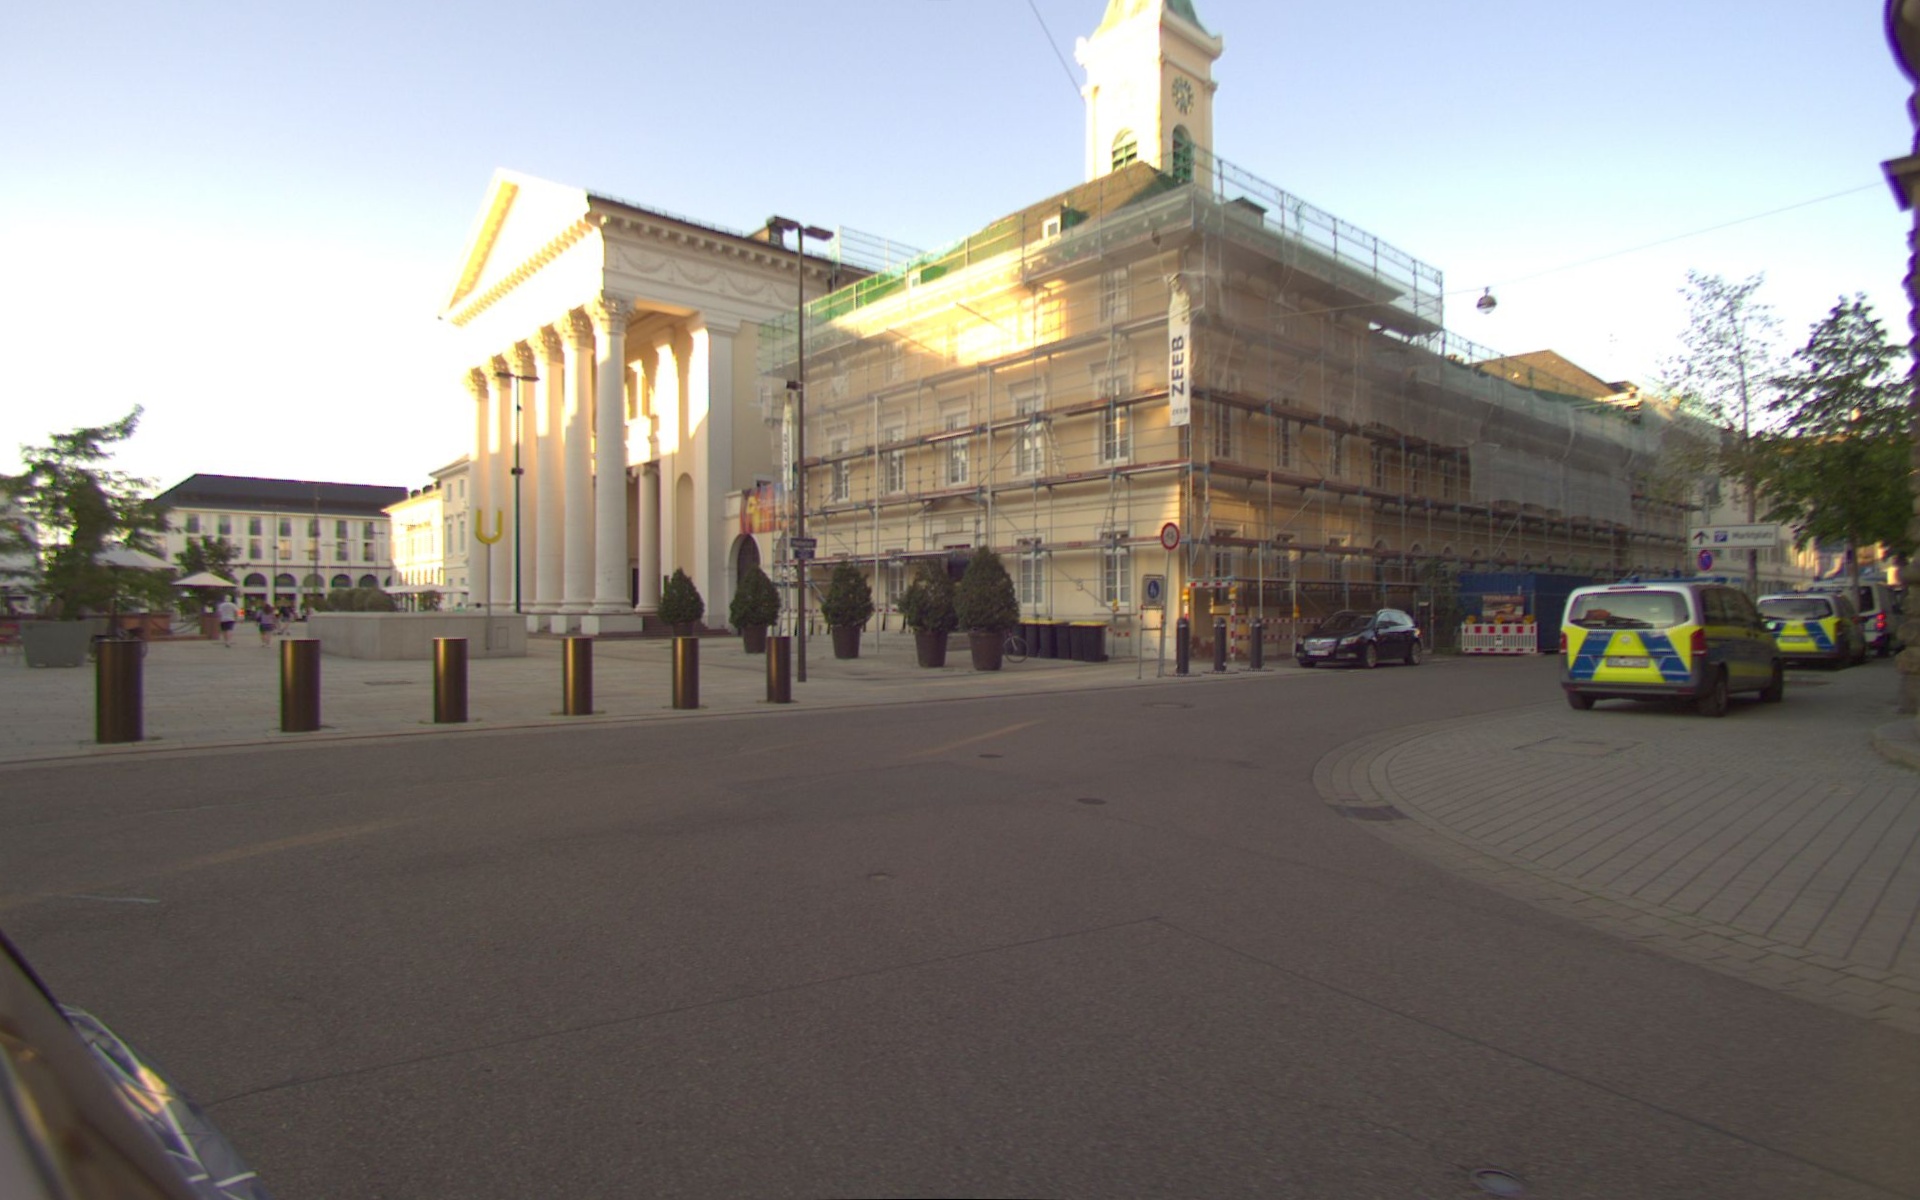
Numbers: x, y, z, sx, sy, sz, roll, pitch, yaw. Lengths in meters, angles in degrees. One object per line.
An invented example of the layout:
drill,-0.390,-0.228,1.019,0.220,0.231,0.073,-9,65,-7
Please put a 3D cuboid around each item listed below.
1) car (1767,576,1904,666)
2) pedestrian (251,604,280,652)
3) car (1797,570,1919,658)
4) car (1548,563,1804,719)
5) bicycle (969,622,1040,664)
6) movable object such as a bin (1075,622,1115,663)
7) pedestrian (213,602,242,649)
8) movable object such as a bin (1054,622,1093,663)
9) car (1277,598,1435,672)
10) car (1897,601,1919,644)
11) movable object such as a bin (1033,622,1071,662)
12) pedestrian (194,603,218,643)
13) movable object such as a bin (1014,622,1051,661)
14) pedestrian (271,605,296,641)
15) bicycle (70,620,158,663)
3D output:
car,21.675,0.488,25.021,3.937,2.029,2.003,0,-1,-41
pedestrian,-25.859,1.036,37.670,0.843,1.743,0.883,0,-1,-38
car,27.142,0.399,30.568,3.937,2.464,2.232,0,-1,-41
car,10.805,0.557,15.202,3.935,2.029,2.004,0,-1,-37
bicycle,1.202,1.158,27.597,1.845,1.120,0.628,0,-1,31
movable object such as a bin,3.636,1.132,27.212,0.799,1.085,0.723,0,-1,-39
pedestrian,-27.125,0.932,37.476,0.843,1.743,0.883,0,-1,-38
movable object such as a bin,3.118,1.148,27.848,0.799,1.085,0.723,0,-1,-39
car,10.192,0.837,25.955,3.935,1.749,2.004,0,-1,-37
car,41.542,0.923,42.991,3.937,1.779,2.097,0,-1,-41
movable object such as a bin,2.584,1.182,28.496,0.799,1.085,0.723,0,-1,-39
pedestrian,-33.343,1.005,44.752,0.843,1.743,0.883,0,-1,-38
movable object such as a bin,2.088,1.172,29.089,0.799,1.085,0.723,0,-1,-39
pedestrian,-36.370,1.236,54.423,1.075,1.926,0.883,0,-1,-38
bicycle,-23.255,1.138,27.842,1.661,1.130,0.846,0,-1,-7
